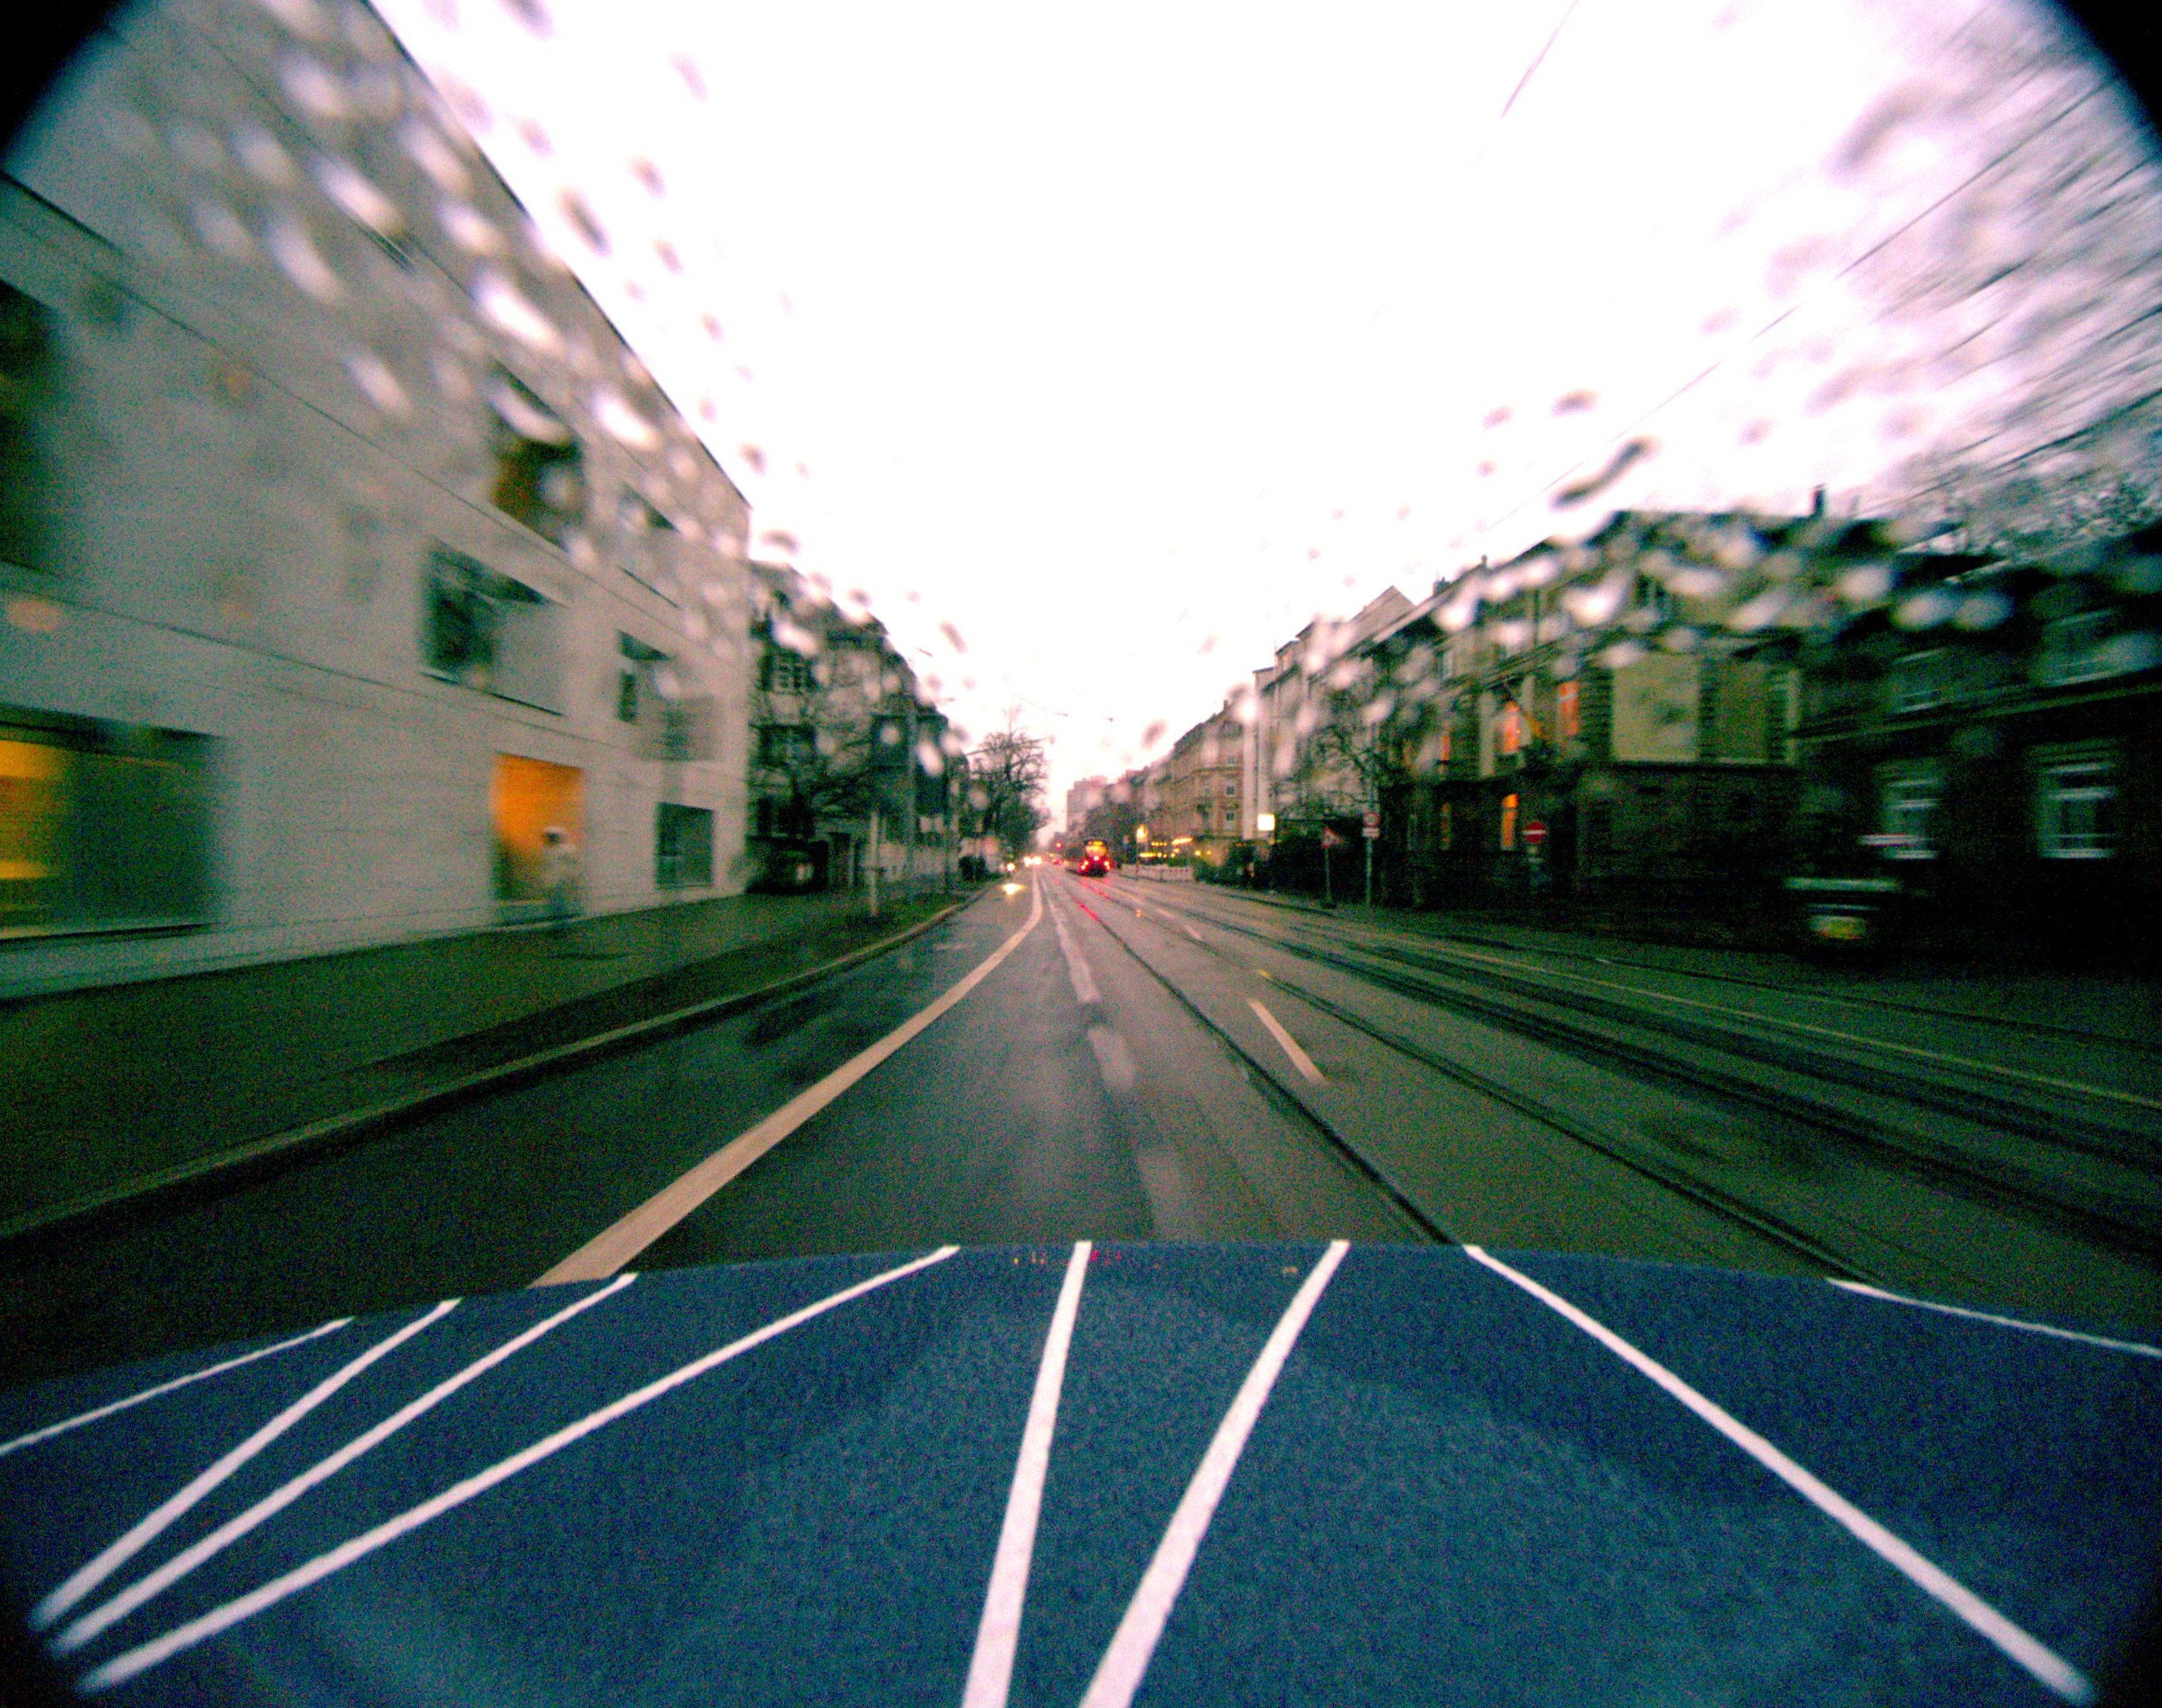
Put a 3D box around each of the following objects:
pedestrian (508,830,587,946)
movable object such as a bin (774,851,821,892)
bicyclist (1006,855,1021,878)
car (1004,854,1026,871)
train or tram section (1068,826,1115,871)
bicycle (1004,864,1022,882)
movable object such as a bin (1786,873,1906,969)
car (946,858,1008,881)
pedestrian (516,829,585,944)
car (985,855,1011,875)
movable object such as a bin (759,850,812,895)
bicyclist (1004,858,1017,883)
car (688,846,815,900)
[{"bbox_3d":[-8.826,0.550,12.596,0.773,1.848,0.718,1,1,-1],"label":"pedestrian"},{"bbox_3d":[-10.132,0.608,27.219,1.260,1.437,1.418,1,1,-5],"label":"movable object such as a bin"},{"bbox_3d":[-4.099,0.762,46.144,0.716,1.335,0.719,-2,1,4],"label":"bicyclist"},{"bbox_3d":[-6.192,0.772,71.733,1.658,1.507,3.501,-2,1,1],"label":"car"},{"bbox_3d":[0.626,-0.552,77.882,2.886,3.715,27.322,-2,0,-3],"label":"train or tram section"},{"bbox_3d":[-4.113,1.149,45.999,0.723,1.083,2.287,-1,-1,4],"label":"bicycle"},{"bbox_3d":[12.871,1.078,12.802,0.988,1.456,1.340,-2,1,-40],"label":"movable object such as a bin"},{"bbox_3d":[-7.115,1.034,51.984,3.860,1.421,1.859,-2,1,-20],"label":"car"},{"bbox_3d":[-8.777,0.528,12.596,0.657,1.849,0.659,1,1,-1],"label":"pedestrian"},{"bbox_3d":[-6.725,0.890,61.741,1.658,1.507,3.501,-2,1,1],"label":"car"},{"bbox_3d":[-9.868,0.595,25.463,1.260,1.437,1.418,1,1,-3],"label":"movable object such as a bin"},{"bbox_3d":[-4.560,1.052,48.894,0.750,1.572,0.797,-2,1,-8],"label":"bicyclist"},{"bbox_3d":[-10.990,0.598,25.549,3.459,1.637,1.731,-2,1,-3],"label":"car"}]
